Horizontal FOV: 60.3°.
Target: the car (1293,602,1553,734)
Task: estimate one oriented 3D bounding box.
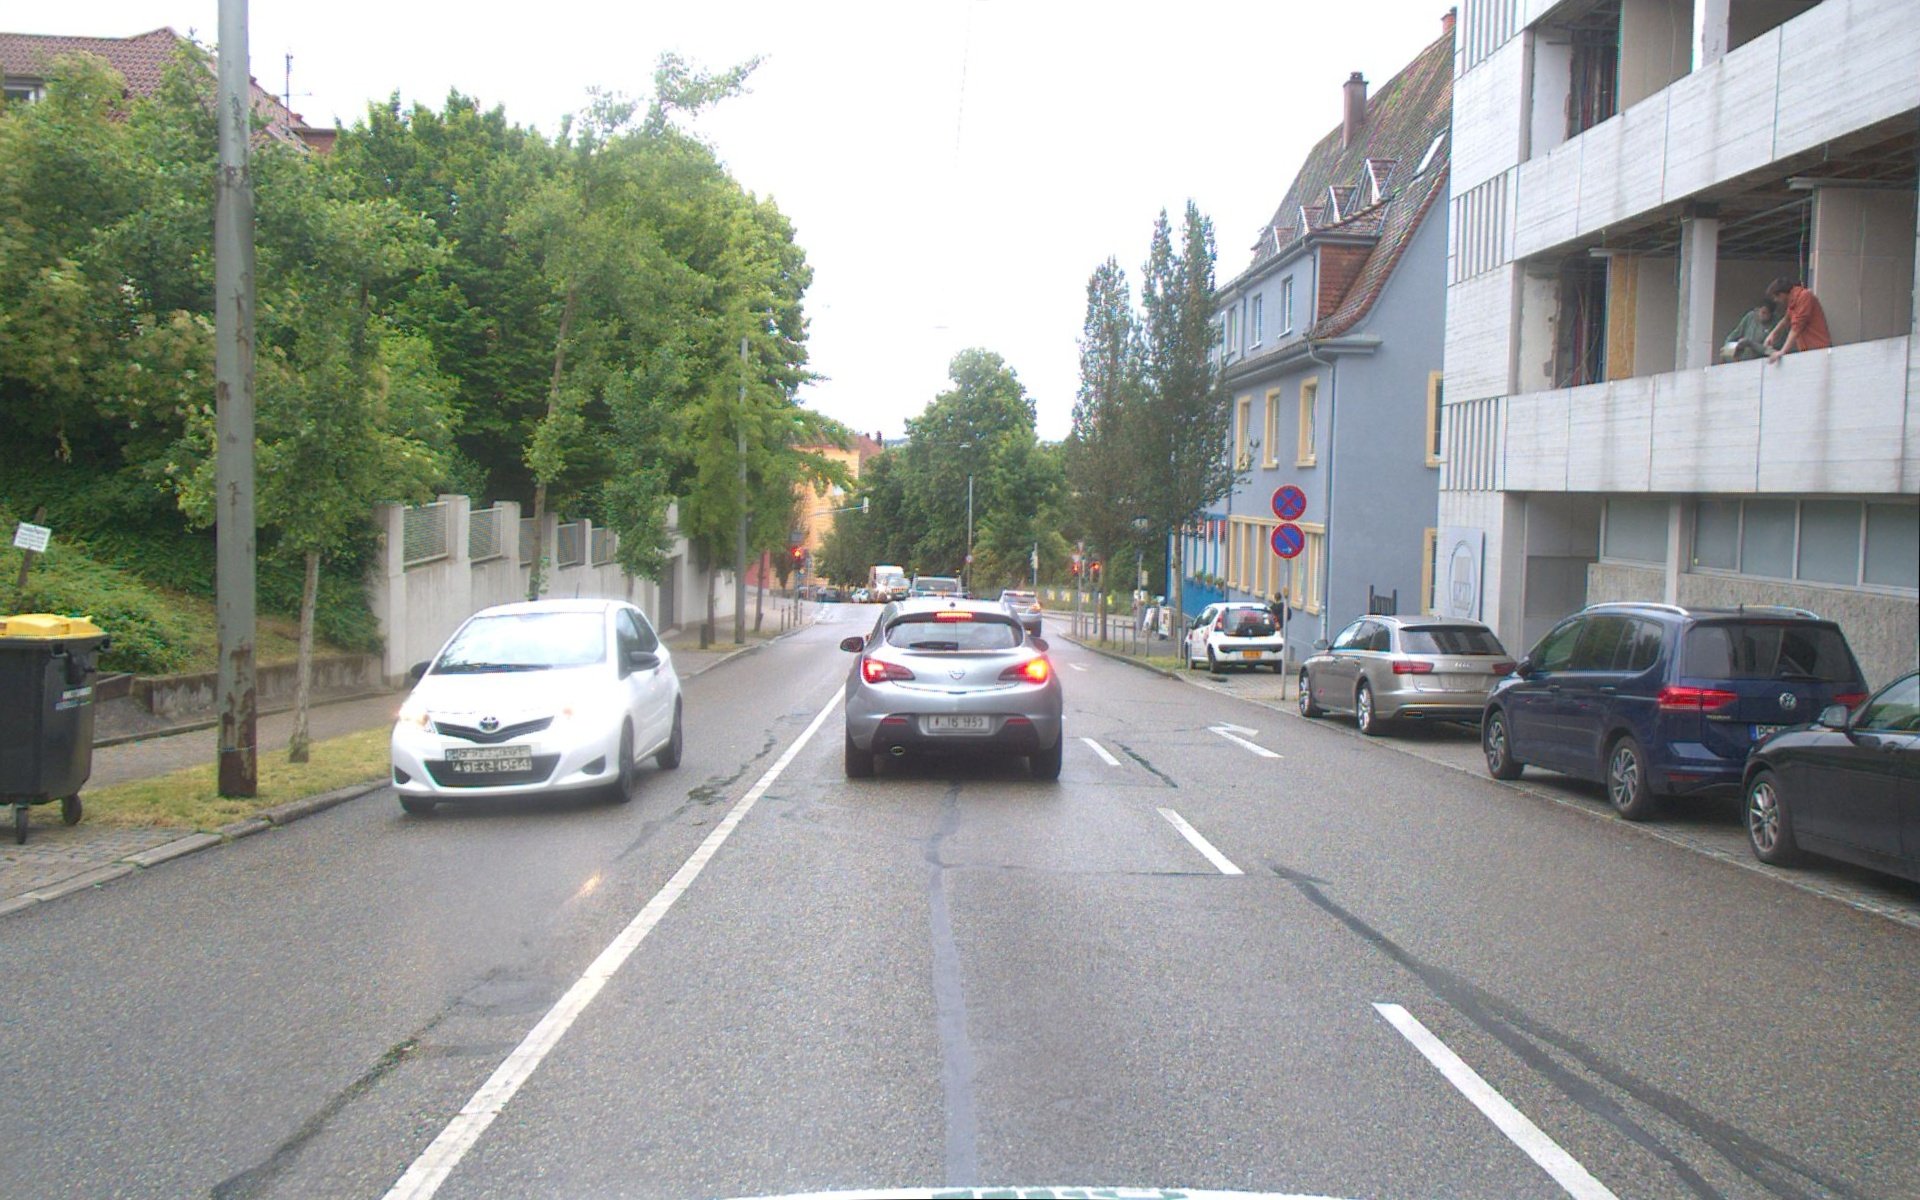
[{"bbox_3d":[5.860,0.802,21.543,1.923,1.473,4.524,1,1,-3],"label":"car"}]

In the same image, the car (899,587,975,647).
[{"bbox_3d":[-0.670,0.430,44.706,1.922,1.473,4.303,2,0,-2],"label":"car"}]

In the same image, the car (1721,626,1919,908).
[{"bbox_3d":[6.065,0.930,9.303,1.712,1.473,4.252,0,0,1],"label":"car"}]

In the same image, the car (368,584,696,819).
[{"bbox_3d":[-3.262,0.691,13.358,1.674,1.558,3.841,-2,0,-1],"label":"car"}]

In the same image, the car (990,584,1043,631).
[{"bbox_3d":[2.116,0.275,62.789,1.688,1.744,3.877,0,0,-3],"label":"car"}]

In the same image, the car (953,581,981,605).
[{"bbox_3d":[0.479,-0.479,116.543,1.689,1.666,3.876,0,0,-4],"label":"car"}]

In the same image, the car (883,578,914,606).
[{"bbox_3d":[-3.720,-0.474,100.171,1.833,1.666,3.878,0,0,-2],"label":"car"}]

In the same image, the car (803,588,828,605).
[{"bbox_3d":[-14.461,-0.390,165.472,1.696,1.666,3.859,0,0,-18],"label":"car"}]

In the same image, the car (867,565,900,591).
[{"bbox_3d":[-4.984,-1.443,107.787,1.691,1.666,3.871,0,0,-10],"label":"car"}]

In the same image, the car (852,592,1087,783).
[{"bbox_3d":[-0.016,0.672,14.752,1.800,1.459,3.877,1,0,-3],"label":"car"}]

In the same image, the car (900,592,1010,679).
[{"bbox_3d":[-0.165,0.620,31.673,1.922,1.473,4.303,2,0,-2],"label":"car"}]

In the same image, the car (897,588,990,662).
[{"bbox_3d":[-0.426,0.514,37.049,1.922,1.473,4.303,2,0,-2],"label":"car"}]

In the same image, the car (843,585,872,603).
[{"bbox_3d":[-9.118,-0.538,147.055,1.696,1.570,3.859,0,0,-18],"label":"car"}]

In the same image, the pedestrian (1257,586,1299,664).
[{"bbox_3d":[7.310,0.560,38.034,0.767,1.759,0.650,2,0,-1],"label":"pedestrian"}]

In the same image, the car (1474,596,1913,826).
[{"bbox_3d":[5.909,0.792,13.935,1.694,1.627,4.159,0,0,-3],"label":"car"}]

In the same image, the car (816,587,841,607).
[{"bbox_3d":[-11.474,-0.295,144.398,1.692,1.666,3.868,2,-1,-12],"label":"car"}]

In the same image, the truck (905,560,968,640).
[{"bbox_3d":[-0.824,-0.018,54.704,1.922,2.471,4.934,2,0,-2],"label":"truck"}]

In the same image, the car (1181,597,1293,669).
[{"bbox_3d":[6.045,0.684,36.428,1.688,1.473,3.878,0,0,-2],"label":"car"}]

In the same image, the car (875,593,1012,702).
[{"bbox_3d":[-0.310,0.674,25.949,1.922,1.473,4.303,2,0,-2],"label":"car"}]

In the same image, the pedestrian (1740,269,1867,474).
[{"bbox_3d":[8.990,-2.411,17.658,0.889,2.049,0.861,1,-1,-1],"label":"pedestrian"}]

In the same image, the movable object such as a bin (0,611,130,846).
[{"bbox_3d":[-5.995,0.750,10.171,1.274,1.329,1.153,1,1,-9],"label":"movable object such as a bin"}]

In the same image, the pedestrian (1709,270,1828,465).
[{"bbox_3d":[9.125,-2.603,18.699,0.889,2.049,0.861,1,-1,-1],"label":"pedestrian"}]
